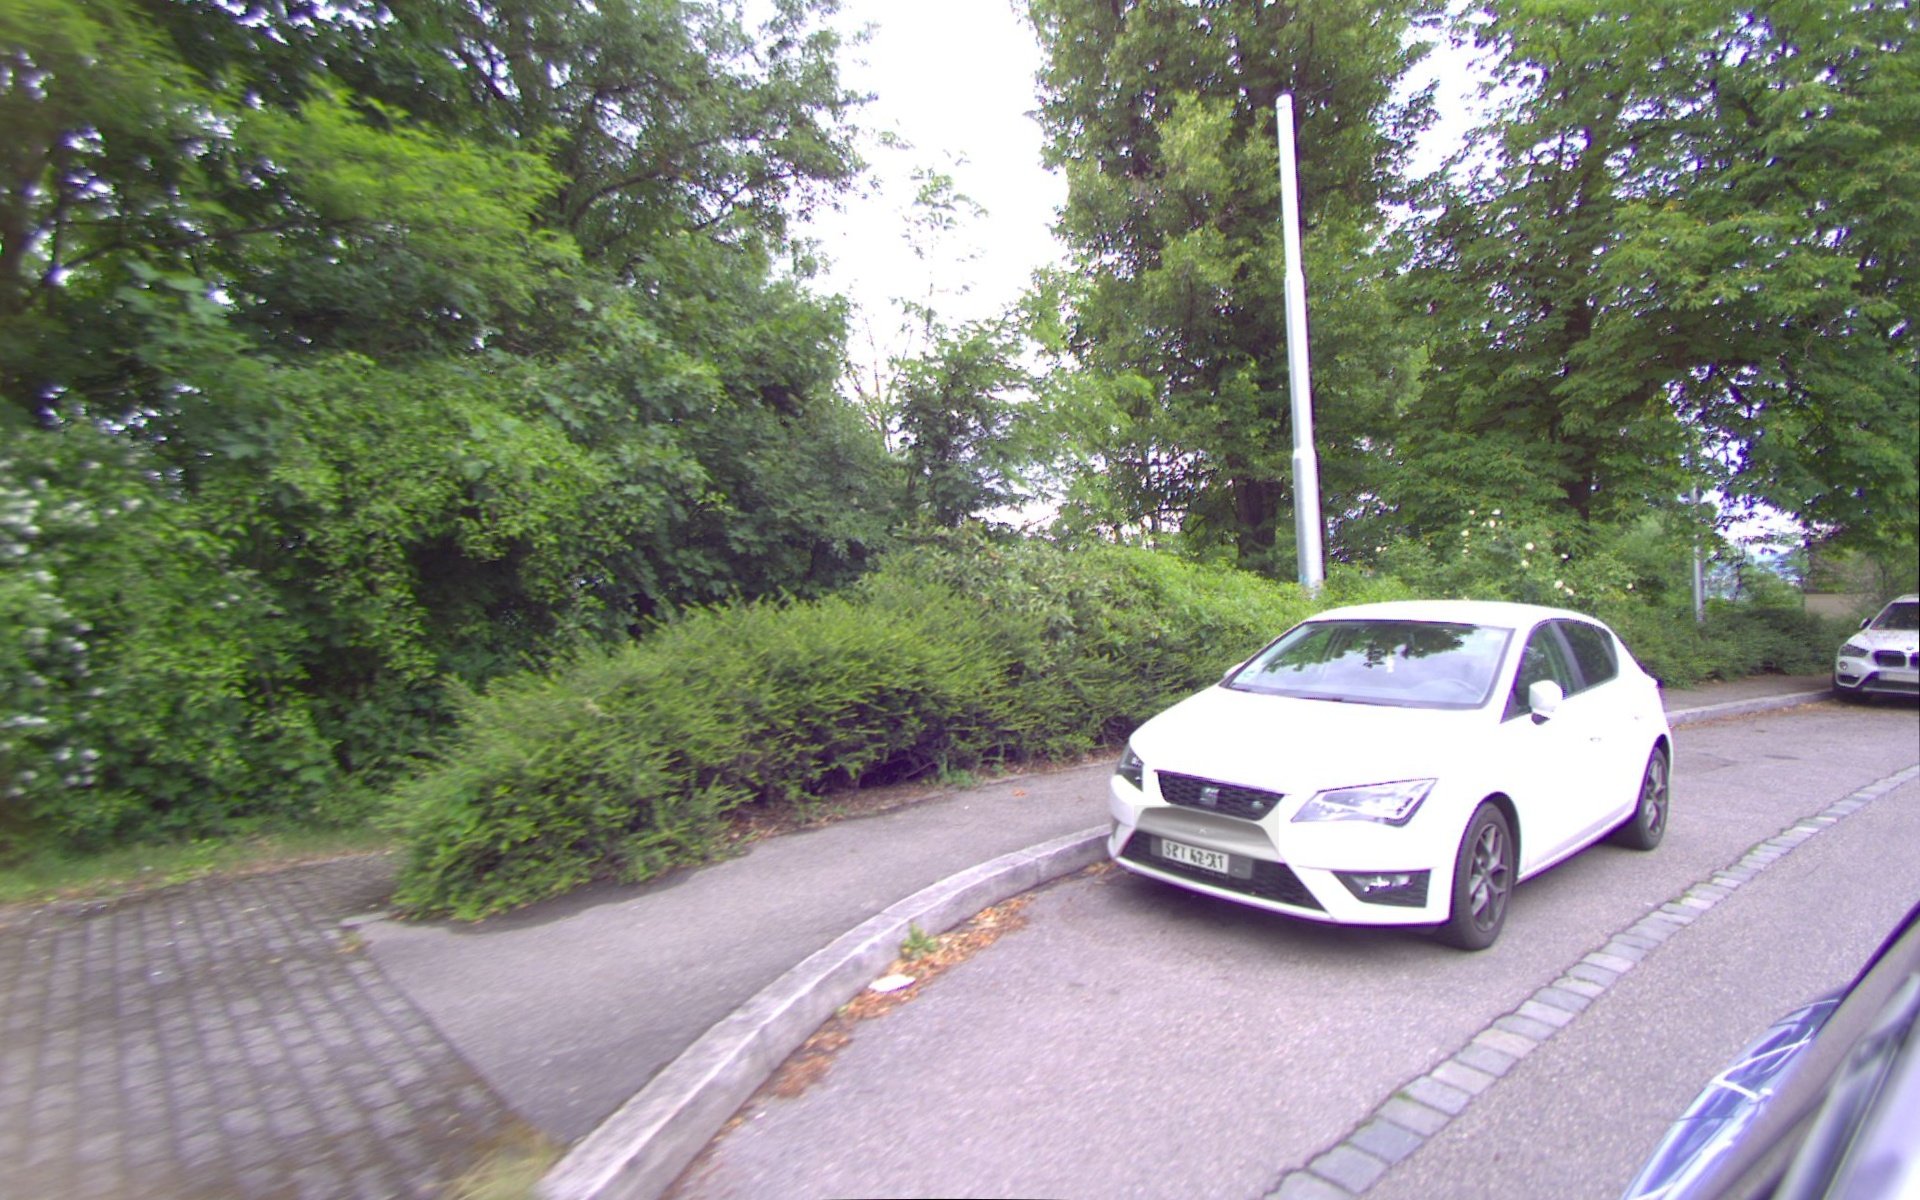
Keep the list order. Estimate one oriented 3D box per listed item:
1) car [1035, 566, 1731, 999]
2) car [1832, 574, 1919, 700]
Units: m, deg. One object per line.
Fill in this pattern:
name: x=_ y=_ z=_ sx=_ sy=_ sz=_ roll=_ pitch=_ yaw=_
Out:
car: x=2.666 y=0.642 z=5.694 sx=4.618 sy=1.501 sz=1.736 roll=0 pitch=-1 yaw=-41
car: x=14.768 y=0.501 z=14.793 sx=4.293 sy=1.672 sz=1.766 roll=0 pitch=2 yaw=-31
